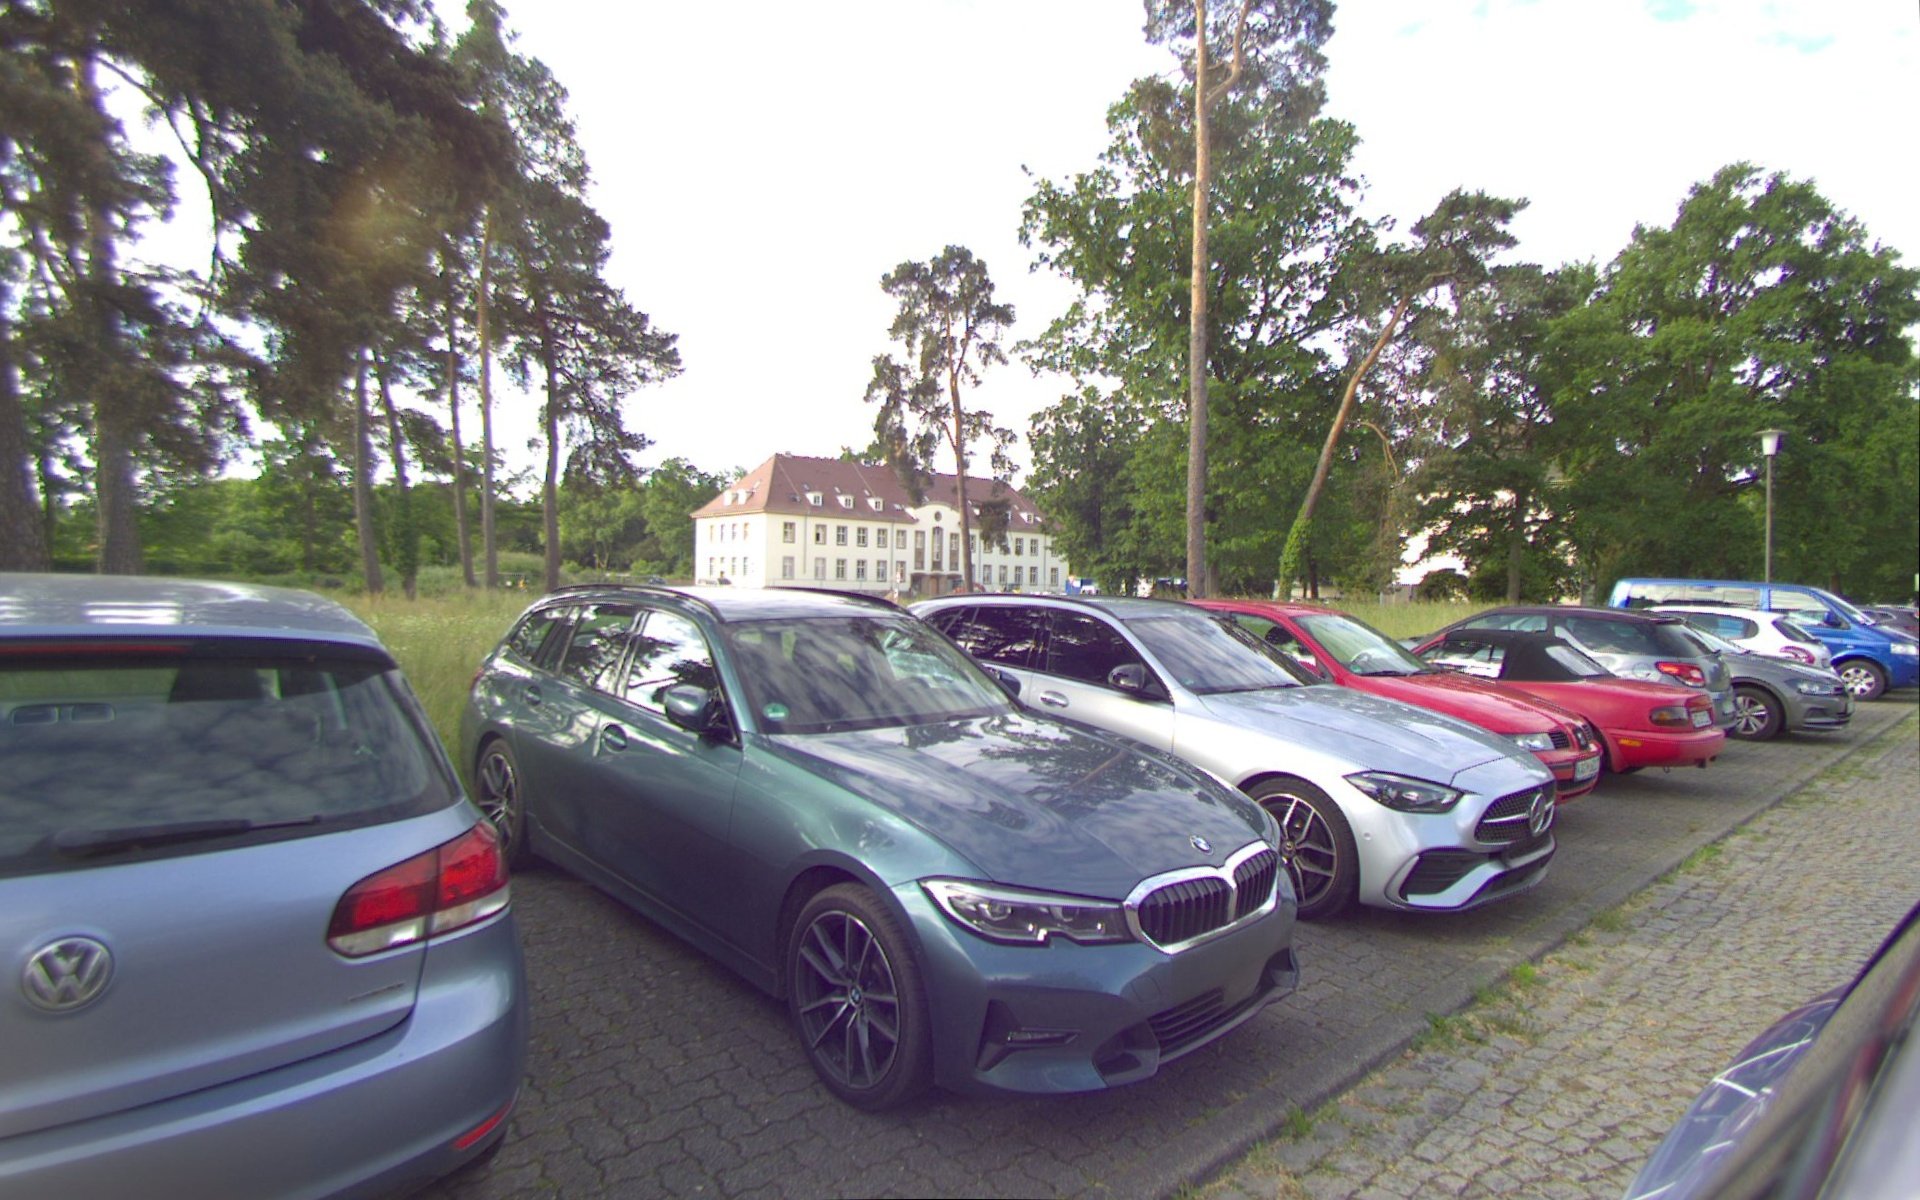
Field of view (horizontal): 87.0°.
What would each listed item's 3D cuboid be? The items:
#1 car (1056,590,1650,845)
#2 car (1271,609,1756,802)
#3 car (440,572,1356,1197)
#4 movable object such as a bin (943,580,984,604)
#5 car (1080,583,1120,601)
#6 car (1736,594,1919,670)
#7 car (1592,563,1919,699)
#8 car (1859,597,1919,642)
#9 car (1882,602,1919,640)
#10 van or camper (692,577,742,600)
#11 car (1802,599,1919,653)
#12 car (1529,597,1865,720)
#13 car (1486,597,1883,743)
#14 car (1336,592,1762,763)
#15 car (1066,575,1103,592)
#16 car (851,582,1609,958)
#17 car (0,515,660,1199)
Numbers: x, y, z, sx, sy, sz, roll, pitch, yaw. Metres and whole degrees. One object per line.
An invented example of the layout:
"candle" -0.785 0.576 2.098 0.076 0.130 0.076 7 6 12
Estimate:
"car" 2.837 0.679 8.076 1.689 1.441 4.116 0 1 -40
"car" 4.850 0.796 9.237 1.579 1.303 3.554 2 0 -40
"car" -0.752 0.647 4.714 1.777 1.502 4.517 0 1 -43
"movable object such as a bin" 0.462 -0.975 121.636 1.993 2.802 5.122 1 1 43
"car" 14.349 -0.789 103.686 3.865 1.704 1.848 0 2 -39
"car" 21.107 0.722 24.240 1.555 1.621 3.830 1 1 -44
"car" 14.780 0.447 18.578 2.024 2.047 4.953 1 3 -40
"car" 36.357 0.740 37.843 1.551 1.639 3.840 1 1 -36
"car" 39.969 0.885 40.820 1.642 1.548 3.840 1 1 -36
"van or camper" -25.000 -1.204 104.131 6.061 2.251 1.969 2 1 42
"car" 28.547 0.794 31.203 1.555 1.544 3.830 0 1 -44
"car" 10.791 0.751 15.034 1.553 1.518 3.761 1 1 -39
"car" 8.947 0.741 12.754 1.613 1.484 3.781 0 1 -39
"car" 6.421 0.714 11.370 1.576 1.522 3.834 0 1 -41
"car" 15.097 -2.024 122.488 3.925 2.039 2.219 0 1 -37
"car" 1.308 0.671 6.340 1.737 1.446 4.332 0 2 -42
"car" -2.537 0.585 2.982 1.614 1.489 3.846 0 1 -43
